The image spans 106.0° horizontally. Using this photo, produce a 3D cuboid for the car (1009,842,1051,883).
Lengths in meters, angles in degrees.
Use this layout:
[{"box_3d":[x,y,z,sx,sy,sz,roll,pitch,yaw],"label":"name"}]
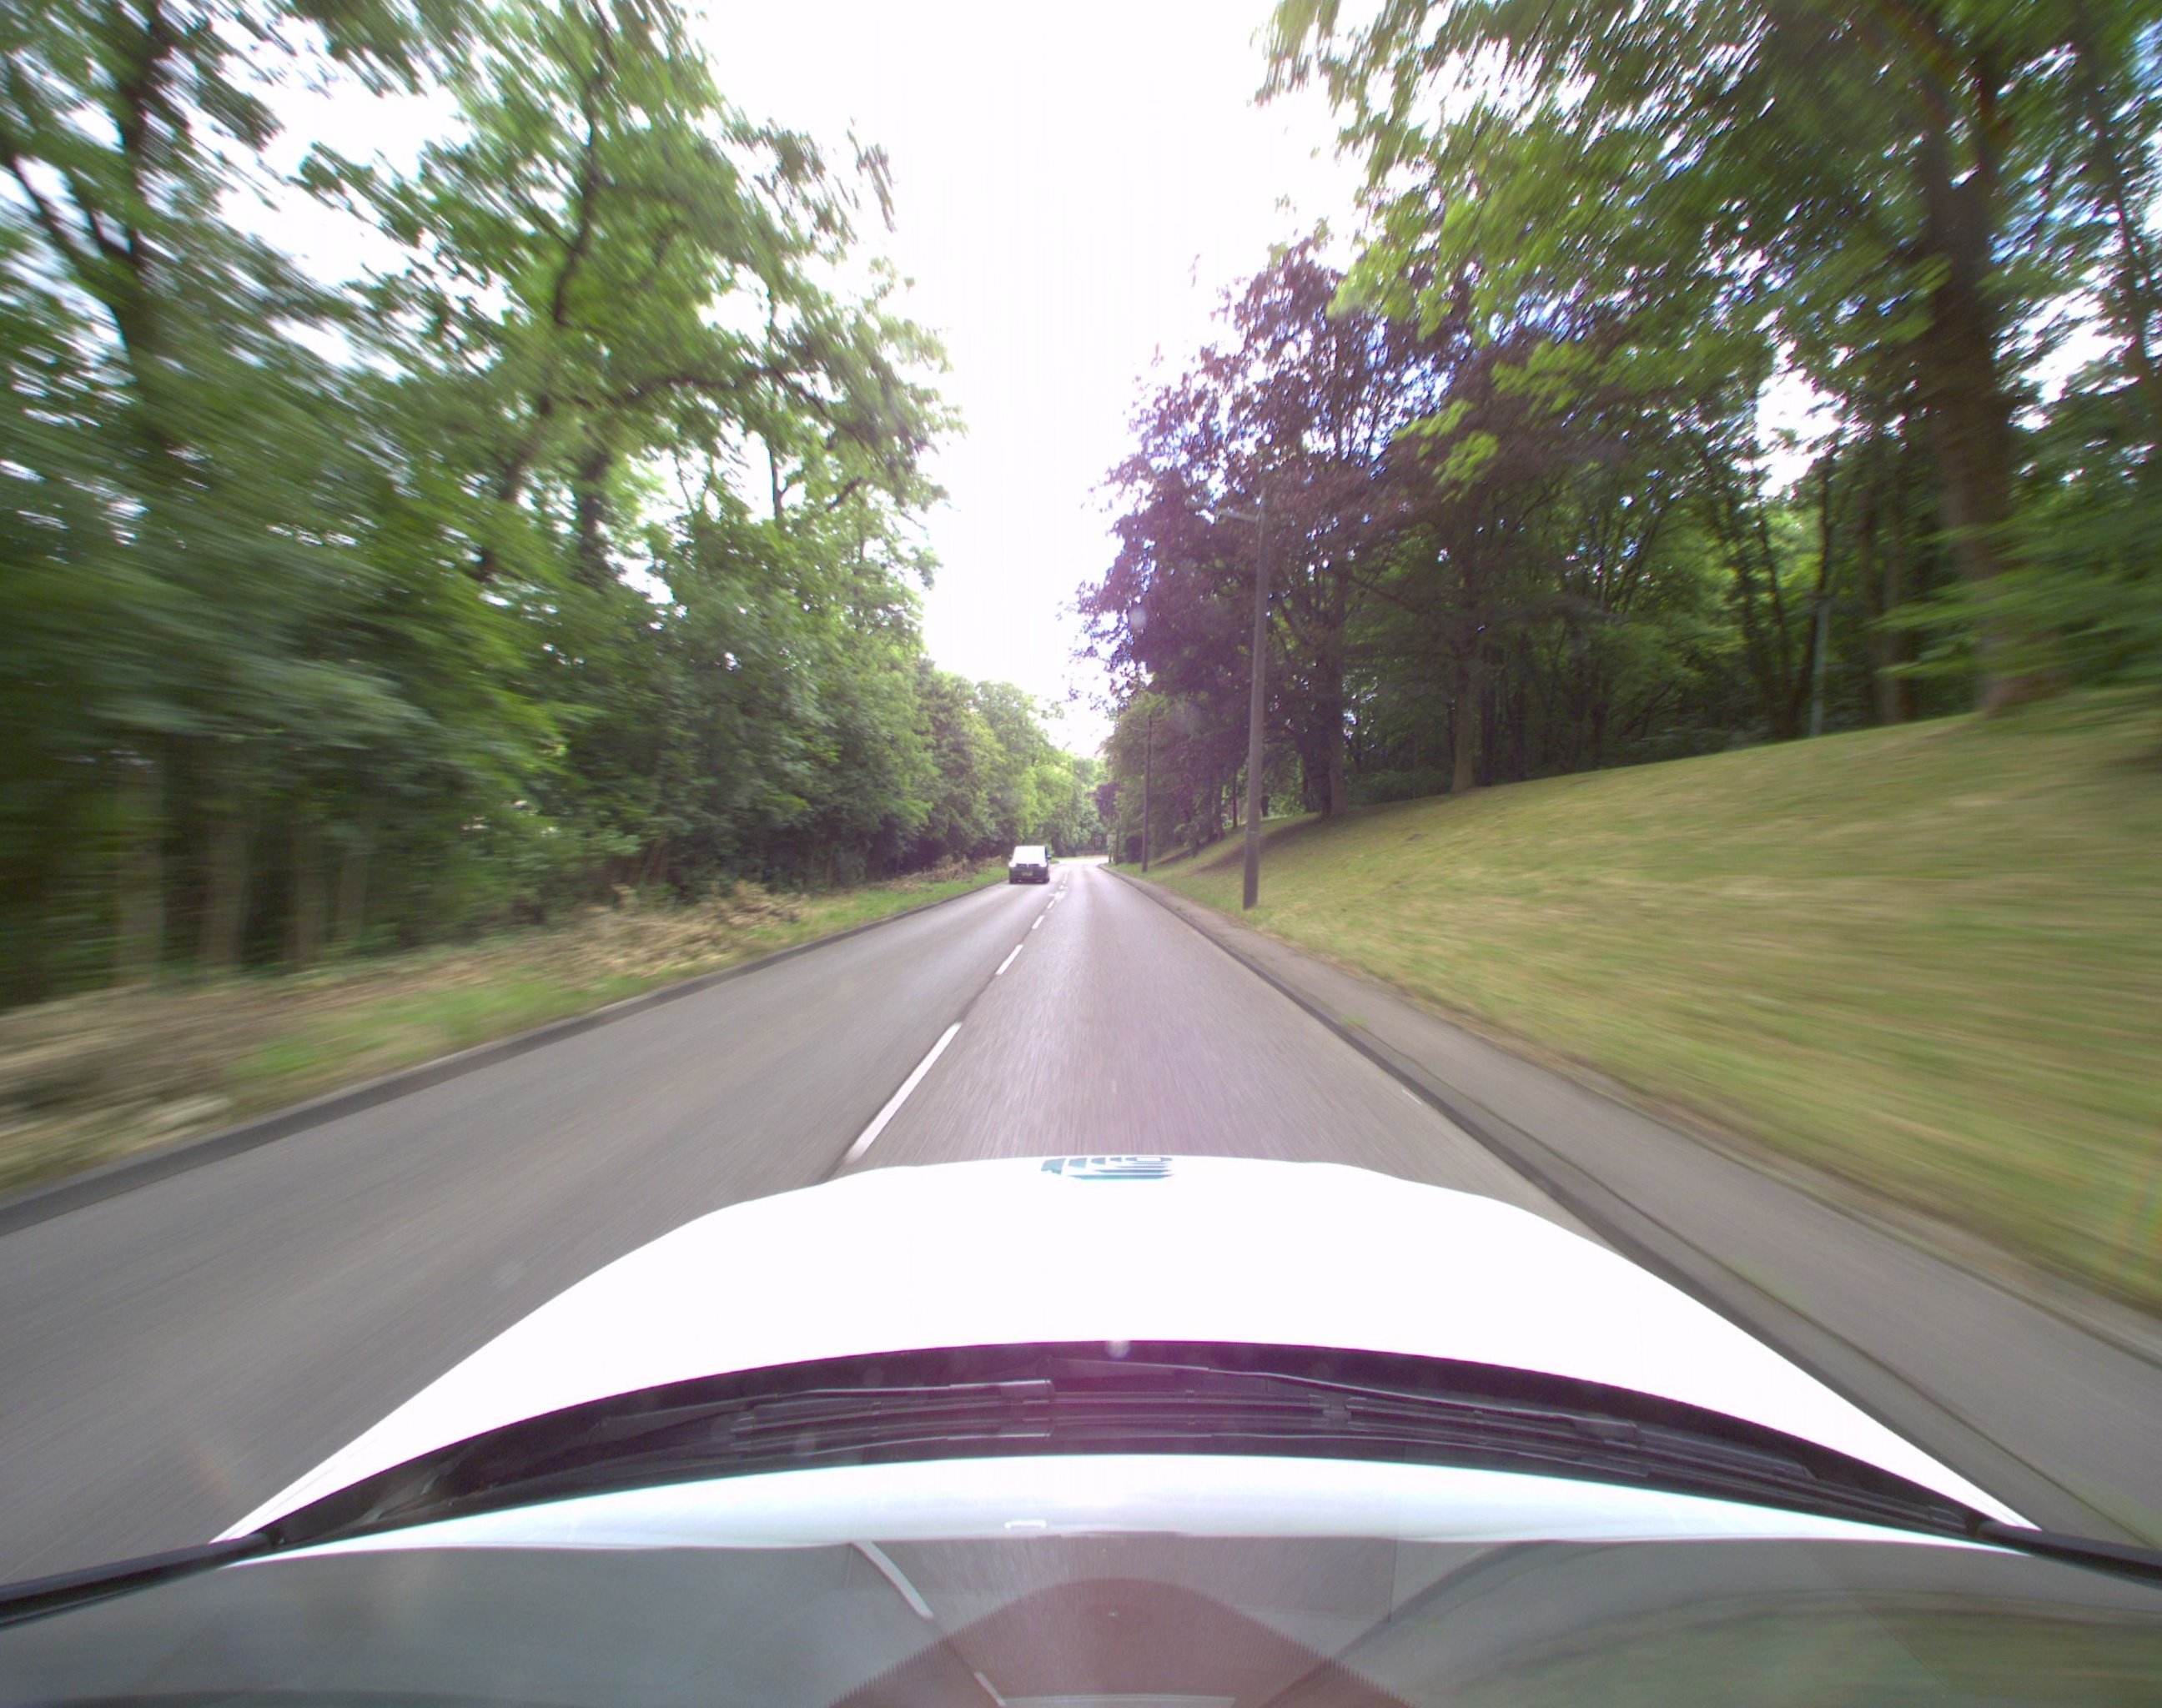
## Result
[{"box_3d":[-2.546,0.431,41.858,1.988,1.948,4.942,0,0,-2],"label":"car"}]
